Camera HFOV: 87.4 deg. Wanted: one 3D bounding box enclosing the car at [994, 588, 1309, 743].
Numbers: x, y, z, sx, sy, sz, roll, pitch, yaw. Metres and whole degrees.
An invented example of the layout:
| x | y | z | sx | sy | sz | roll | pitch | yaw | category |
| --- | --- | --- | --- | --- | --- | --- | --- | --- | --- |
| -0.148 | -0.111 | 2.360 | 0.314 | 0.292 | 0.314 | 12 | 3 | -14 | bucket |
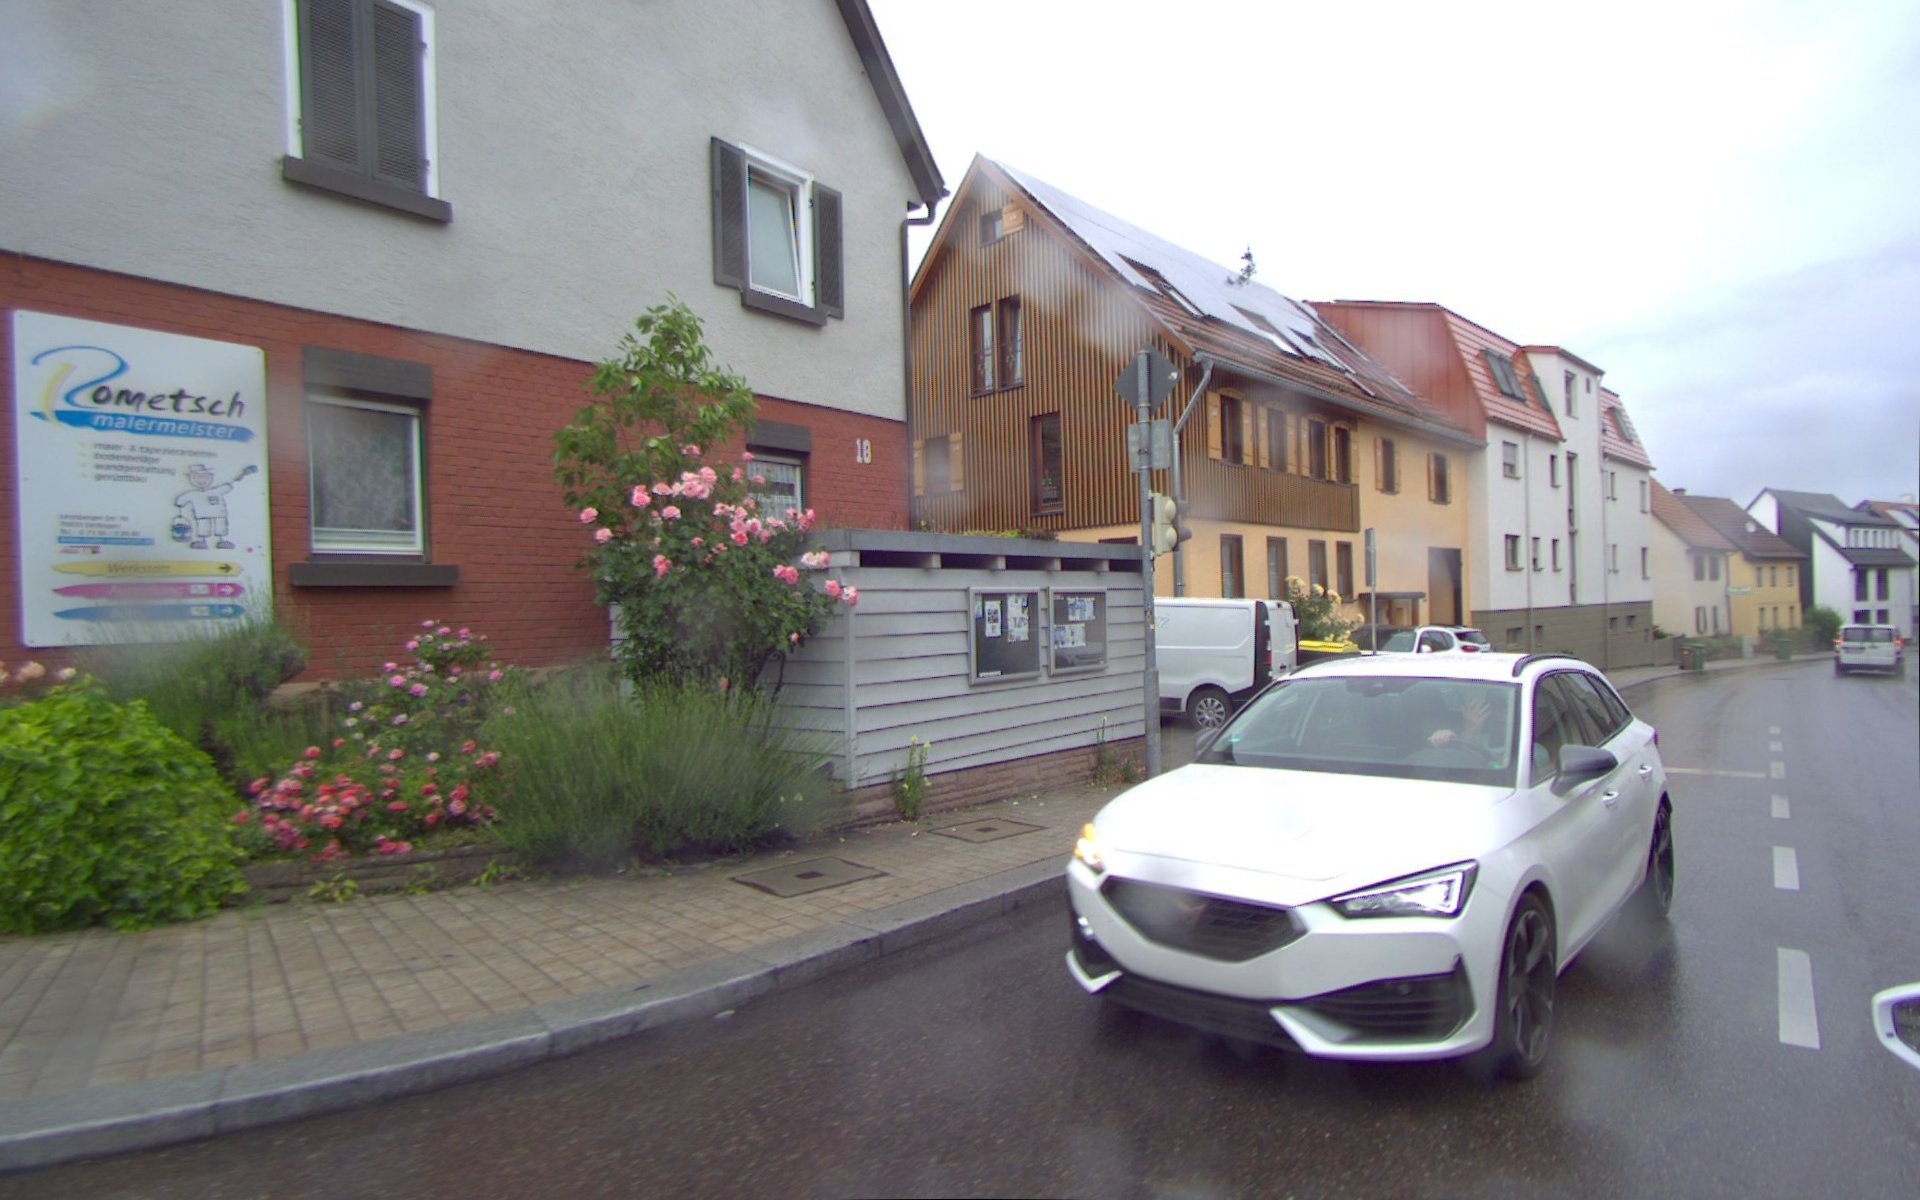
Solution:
| x | y | z | sx | sy | sz | roll | pitch | yaw | category |
| --- | --- | --- | --- | --- | --- | --- | --- | --- | --- |
| 2.981 | 0.884 | 15.929 | 4.444 | 2.006 | 1.995 | 3 | 2 | 32 | car |

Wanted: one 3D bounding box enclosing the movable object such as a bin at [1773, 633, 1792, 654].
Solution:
| x | y | z | sx | sy | sz | roll | pitch | yaw | category |
| --- | --- | --- | --- | --- | --- | --- | --- | --- | --- |
| 44.225 | 2.331 | 54.010 | 0.757 | 1.070 | 0.654 | 1 | 1 | -40 | movable object such as a bin |

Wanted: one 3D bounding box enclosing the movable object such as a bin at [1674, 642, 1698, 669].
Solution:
| x | y | z | sx | sy | sz | roll | pitch | yaw | category |
| --- | --- | --- | --- | --- | --- | --- | --- | --- | --- |
| 30.723 | 2.346 | 42.499 | 0.689 | 1.080 | 0.675 | 1 | -1 | -42 | movable object such as a bin |

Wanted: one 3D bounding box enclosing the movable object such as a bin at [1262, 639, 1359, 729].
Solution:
| x | y | z | sx | sy | sz | roll | pitch | yaw | category |
| --- | --- | --- | --- | --- | --- | --- | --- | --- | --- |
| 5.740 | 1.345 | 16.454 | 1.269 | 1.386 | 0.993 | -1 | -2 | 37 | movable object such as a bin |

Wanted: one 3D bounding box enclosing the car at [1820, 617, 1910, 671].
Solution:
| x | y | z | sx | sy | sz | roll | pitch | yaw | category |
| --- | --- | --- | --- | --- | --- | --- | --- | --- | --- |
| 33.633 | 1.604 | 37.301 | 4.275 | 1.876 | 2.174 | 1 | -3 | -44 | car |

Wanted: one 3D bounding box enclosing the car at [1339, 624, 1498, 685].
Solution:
| x | y | z | sx | sy | sz | roll | pitch | yaw | category |
| --- | --- | --- | --- | --- | --- | --- | --- | --- | --- |
| 13.603 | 1.560 | 29.929 | 3.946 | 1.692 | 1.867 | -1 | -2 | 44 | car |

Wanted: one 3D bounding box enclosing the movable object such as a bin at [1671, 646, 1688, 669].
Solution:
| x | y | z | sx | sy | sz | roll | pitch | yaw | category |
| --- | --- | --- | --- | --- | --- | --- | --- | --- | --- |
| 30.129 | 2.390 | 42.061 | 0.575 | 0.935 | 0.501 | 1 | -1 | -44 | movable object such as a bin |

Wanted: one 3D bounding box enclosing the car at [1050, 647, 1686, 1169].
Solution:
| x | y | z | sx | sy | sz | roll | pitch | yaw | category |
| --- | --- | --- | --- | --- | --- | --- | --- | --- | --- |
| 2.350 | 1.001 | 5.011 | 1.570 | 1.427 | 4.186 | -4 | -3 | 42 | car |

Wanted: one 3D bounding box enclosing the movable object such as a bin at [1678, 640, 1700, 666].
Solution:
| x | y | z | sx | sy | sz | roll | pitch | yaw | category |
| --- | --- | --- | --- | --- | --- | --- | --- | --- | --- |
| 31.316 | 2.276 | 43.144 | 0.656 | 1.059 | 0.675 | 1 | -1 | -42 | movable object such as a bin |

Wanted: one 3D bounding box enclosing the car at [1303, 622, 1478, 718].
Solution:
| x | y | z | sx | sy | sz | roll | pitch | yaw | category |
| --- | --- | --- | --- | --- | --- | --- | --- | --- | --- |
| 8.806 | 1.315 | 20.331 | 1.794 | 1.728 | 4.590 | -2 | -2 | 43 | car |
